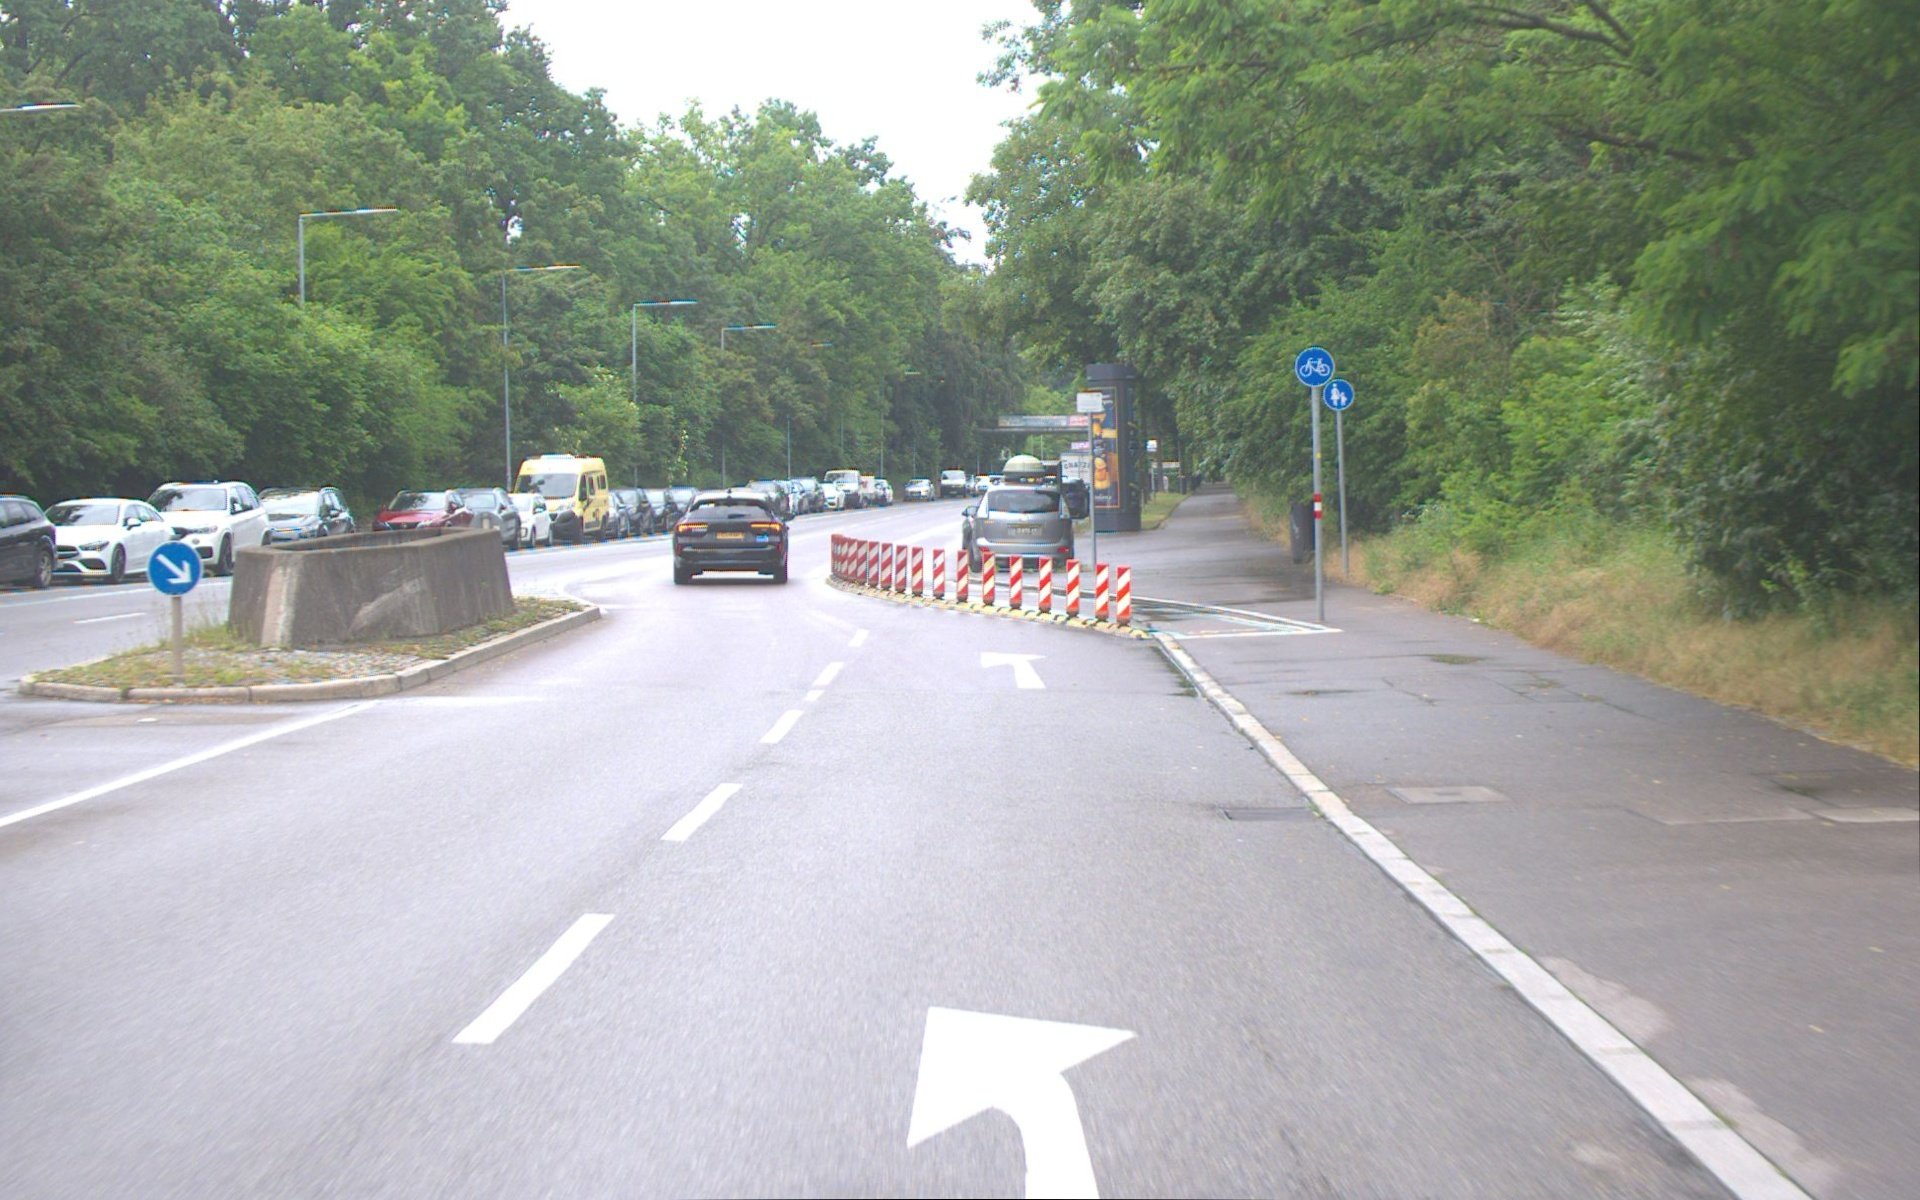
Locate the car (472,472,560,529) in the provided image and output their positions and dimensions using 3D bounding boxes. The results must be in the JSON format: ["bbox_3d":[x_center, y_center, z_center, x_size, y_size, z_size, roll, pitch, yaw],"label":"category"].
[{"bbox_3d":[-12.140,-2.736,94.169,1.617,1.443,3.657,-2,2,4],"label":"car"}]

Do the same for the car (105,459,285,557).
[{"bbox_3d":[-14.242,-1.743,64.280,1.994,1.759,4.960,0,2,3],"label":"car"}]

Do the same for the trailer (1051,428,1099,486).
[{"bbox_3d":[5.187,-6.487,155.686,2.132,2.551,4.298,0,2,2],"label":"trailer"}]

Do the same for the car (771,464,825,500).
[{"bbox_3d":[-7.254,-5.315,154.716,1.880,1.556,4.468,0,2,4],"label":"car"}]

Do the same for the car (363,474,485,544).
[{"bbox_3d":[-12.962,-2.230,83.414,1.919,1.611,4.489,-1,2,4],"label":"car"}]

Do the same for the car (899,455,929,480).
[{"bbox_3d":[-2.927,-8.468,219.594,1.672,1.508,3.630,0,3,3],"label":"car"}]

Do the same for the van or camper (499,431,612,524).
[{"bbox_3d":[-11.778,-3.597,100.421,2.144,2.618,5.682,-1,2,5],"label":"van or camper"}]

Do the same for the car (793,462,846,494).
[{"bbox_3d":[-6.636,-5.803,163.220,1.994,1.483,4.468,0,2,4],"label":"car"}]

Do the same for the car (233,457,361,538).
[{"bbox_3d":[-13.821,-2.169,71.901,1.731,1.643,4.572,0,2,1],"label":"car"}]

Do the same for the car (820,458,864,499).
[{"bbox_3d":[-6.011,-6.212,174.950,1.940,2.006,4.740,0,3,1],"label":"car"}]

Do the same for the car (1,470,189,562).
[{"bbox_3d":[-14.642,-1.464,58.457,1.718,1.455,4.708,0,2,4],"label":"car"}]

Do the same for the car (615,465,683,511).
[{"bbox_3d":[-10.532,-3.807,116.695,1.603,1.505,3.976,0,3,5],"label":"car"}]

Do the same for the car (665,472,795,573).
[{"bbox_3d":[-3.659,-1.247,54.237,1.880,1.460,4.001,1,3,-6],"label":"car"}]

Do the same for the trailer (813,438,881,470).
[{"bbox_3d":[-5.910,-7.635,179.716,1.629,1.623,3.665,1,3,35],"label":"trailer"}]

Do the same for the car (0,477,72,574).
[{"bbox_3d":[-15.245,-1.138,52.536,1.749,1.440,4.586,0,2,6],"label":"car"}]

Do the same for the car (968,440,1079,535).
[{"bbox_3d":[1.085,-1.992,60.544,1.822,1.609,4.252,0,2,-1],"label":"car"}]

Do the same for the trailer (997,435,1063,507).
[{"bbox_3d":[2.239,-4.117,109.268,1.906,2.239,4.768,0,3,3],"label":"trailer"}]

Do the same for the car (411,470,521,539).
[{"bbox_3d":[-12.746,-2.492,88.918,1.993,1.694,4.616,-1,2,2],"label":"car"}]

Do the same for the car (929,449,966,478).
[{"bbox_3d":[-0.881,-9.694,244.664,2.159,2.006,5.030,-1,3,5],"label":"car"}]
